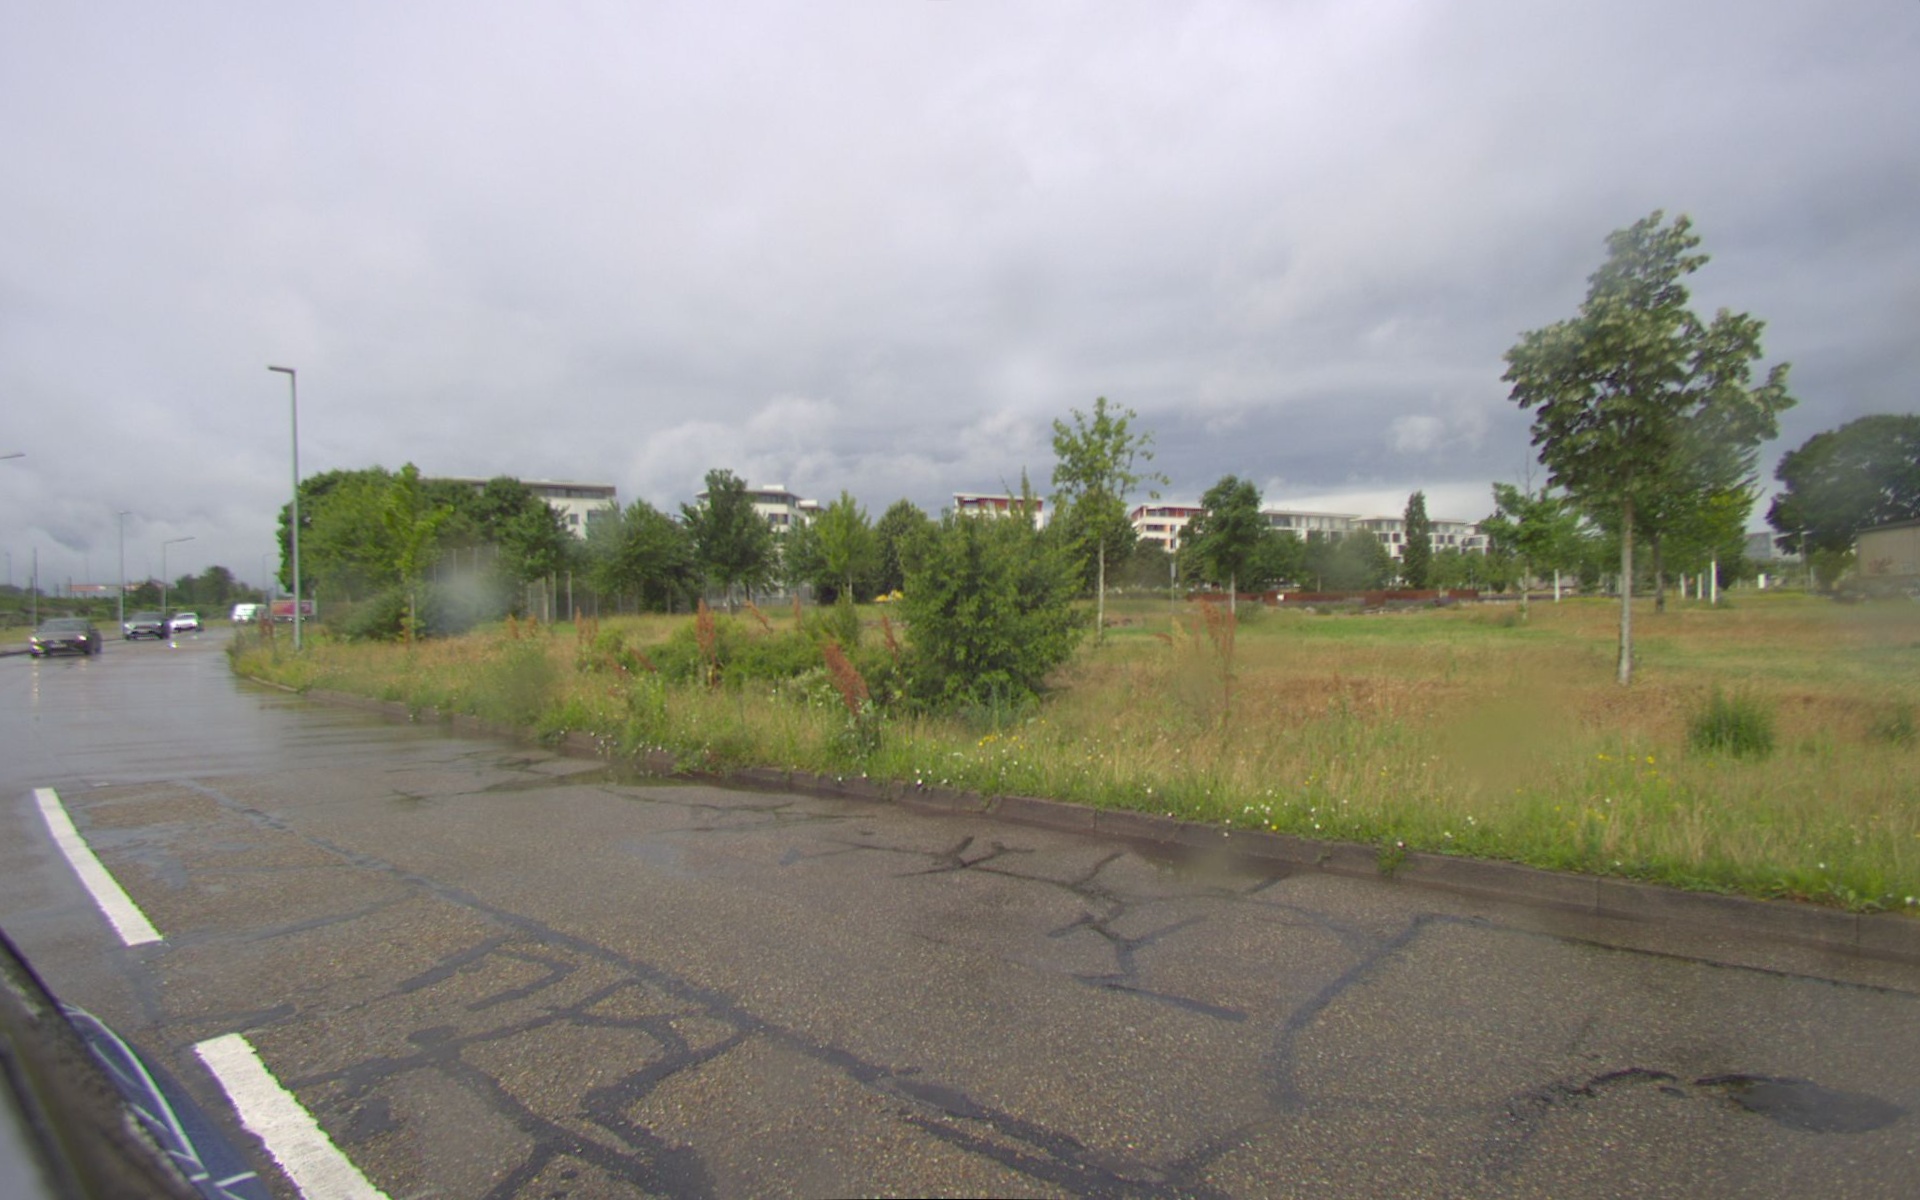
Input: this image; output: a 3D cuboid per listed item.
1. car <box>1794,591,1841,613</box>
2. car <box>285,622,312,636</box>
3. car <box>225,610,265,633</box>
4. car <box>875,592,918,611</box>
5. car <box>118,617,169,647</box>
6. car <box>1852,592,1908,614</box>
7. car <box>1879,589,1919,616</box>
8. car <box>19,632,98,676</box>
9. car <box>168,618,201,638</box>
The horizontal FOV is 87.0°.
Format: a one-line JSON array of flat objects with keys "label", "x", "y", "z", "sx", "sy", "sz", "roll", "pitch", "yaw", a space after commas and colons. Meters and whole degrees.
[{"label": "car", "x": 70.824, "y": 0.142, "z": 83.670, "sx": 1.990, "sy": 1.719, "sz": 3.964, "roll": -2, "pitch": 0, "yaw": 26}, {"label": "car", "x": -79.200, "y": 3.470, "z": 121.188, "sx": 1.811, "sy": 1.530, "sz": 4.371, "roll": -1, "pitch": 0, "yaw": -21}, {"label": "car", "x": -80.493, "y": 2.388, "z": 114.057, "sx": 2.062, "sy": 2.491, "sz": 5.966, "roll": 0, "pitch": 0, "yaw": -18}, {"label": "car", "x": -10.098, "y": 0.164, "z": 160.326, "sx": 6.529, "sy": 2.633, "sz": 1.973, "roll": -4, "pitch": 2, "yaw": -31}, {"label": "car", "x": -49.942, "y": 1.943, "z": 61.980, "sx": 1.978, "sy": 1.718, "sz": 4.341, "roll": -1, "pitch": -1, "yaw": -33}, {"label": "car", "x": 67.236, "y": 0.197, "z": 74.035, "sx": 1.990, "sy": 1.564, "sz": 3.964, "roll": -2, "pitch": 0, "yaw": 26}, {"label": "car", "x": 65.060, "y": 0.160, "z": 69.348, "sx": 1.990, "sy": 1.741, "sz": 3.964, "roll": -2, "pitch": 0, "yaw": 26}, {"label": "car", "x": -35.290, "y": 2.069, "z": 39.718, "sx": 1.844, "sy": 1.530, "sz": 4.368, "roll": 0, "pitch": -1, "yaw": -35}, {"label": "car", "x": -62.296, "y": 2.229, "z": 81.351, "sx": 1.812, "sy": 1.530, "sz": 4.369, "roll": -1, "pitch": 0, "yaw": -34}]
